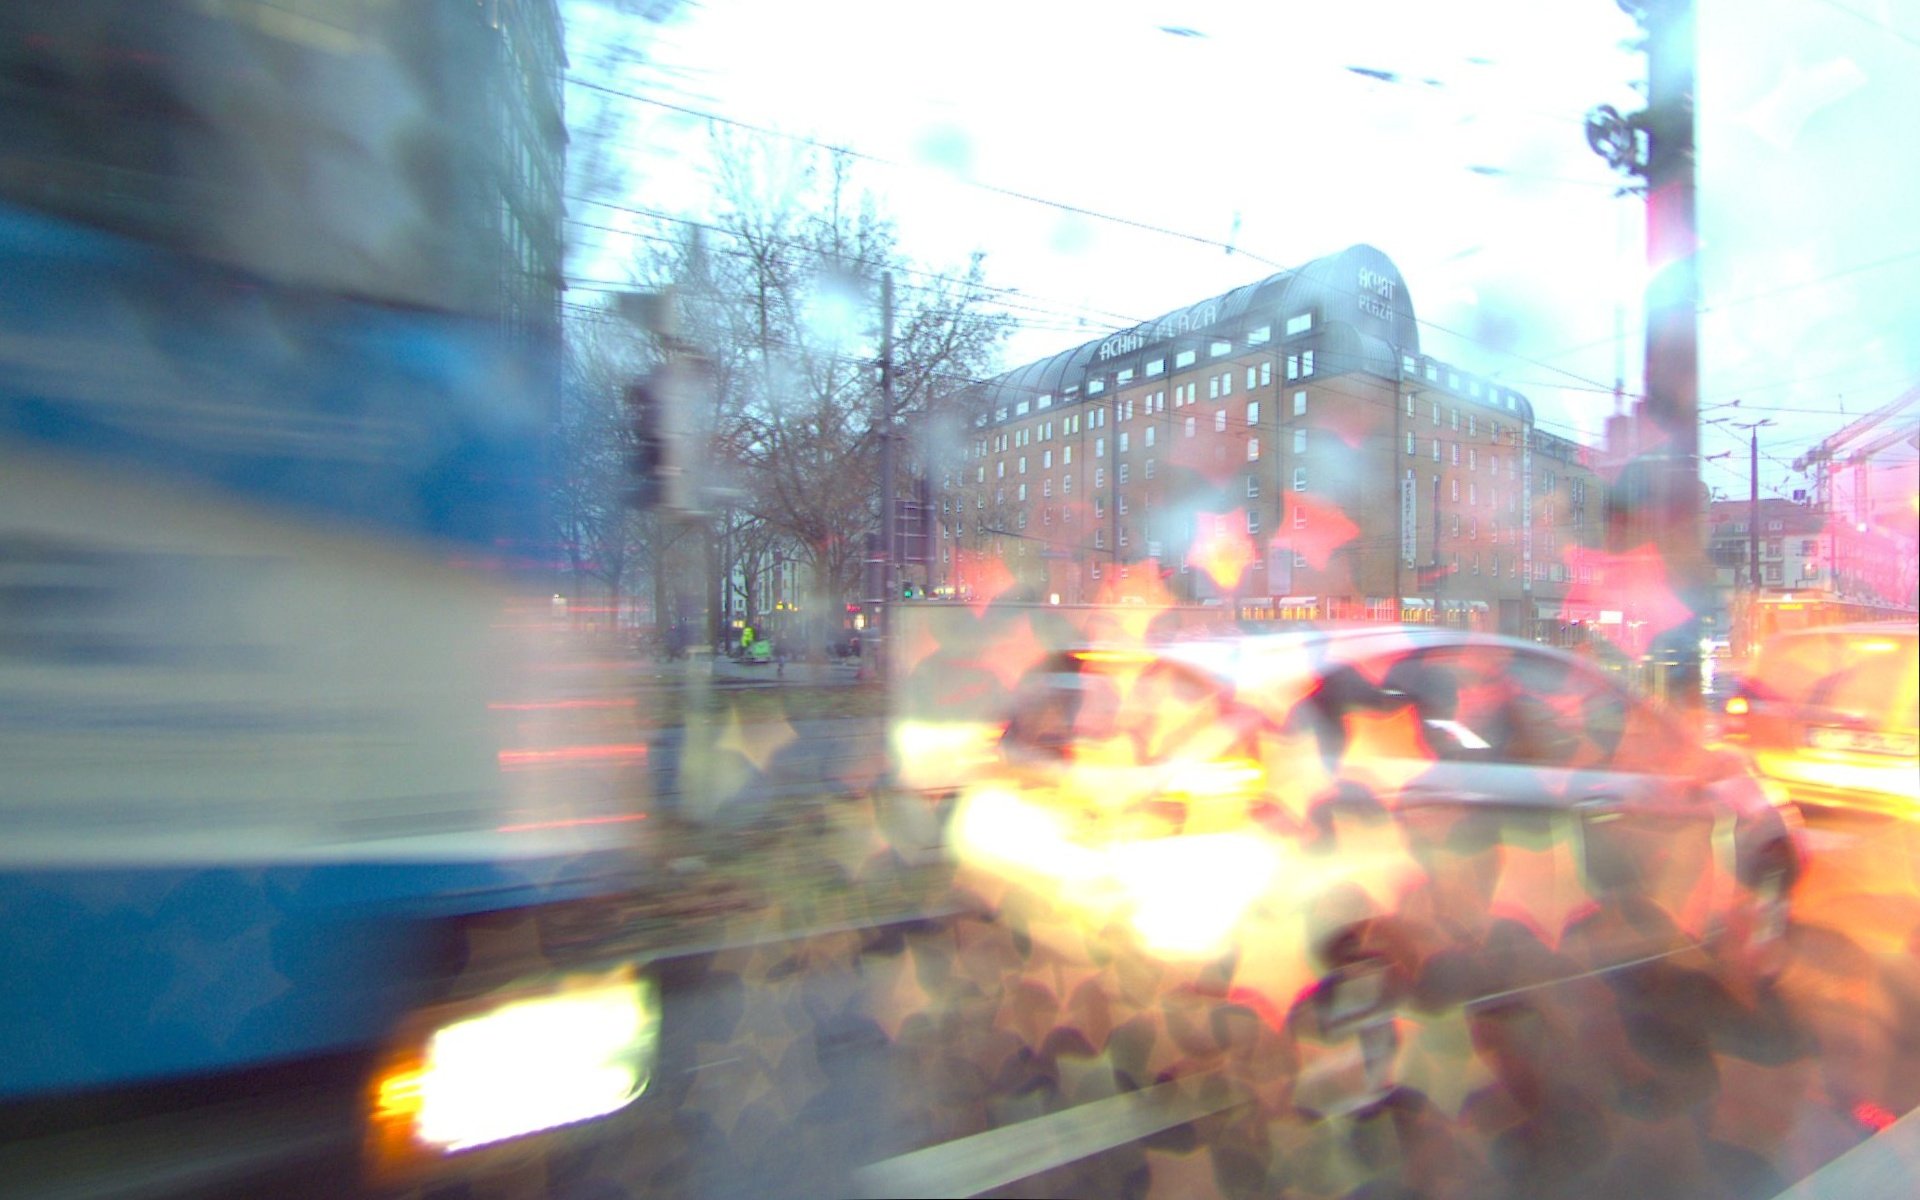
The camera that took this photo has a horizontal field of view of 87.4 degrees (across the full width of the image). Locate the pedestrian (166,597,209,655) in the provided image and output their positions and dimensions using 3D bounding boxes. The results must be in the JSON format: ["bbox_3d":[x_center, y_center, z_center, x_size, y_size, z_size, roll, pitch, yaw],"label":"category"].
[{"bbox_3d":[-24.285,0.811,31.576,0.690,1.775,0.794,0,-1,18],"label":"pedestrian"}]

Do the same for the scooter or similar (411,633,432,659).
[{"bbox_3d":[-20.149,1.706,37.592,0.657,0.973,0.550,1,-2,-24],"label":"scooter or similar"}]

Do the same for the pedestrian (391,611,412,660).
[{"bbox_3d":[-20.747,1.309,37.324,0.628,1.797,0.569,1,-2,-25],"label":"pedestrian"}]

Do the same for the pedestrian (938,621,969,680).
[{"bbox_3d":[-0.170,1.335,26.765,0.641,1.532,0.556,1,-1,-41],"label":"pedestrian"}]

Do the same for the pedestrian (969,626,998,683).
[{"bbox_3d":[0.634,1.472,27.303,0.609,1.532,0.516,1,-1,-38],"label":"pedestrian"}]

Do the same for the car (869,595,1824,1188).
[{"bbox_3d":[1.775,0.781,4.267,3.954,1.467,1.697,2,0,-31],"label":"car"}]

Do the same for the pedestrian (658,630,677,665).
[{"bbox_3d":[-12.190,1.976,41.859,0.675,1.478,0.569,1,-2,-24],"label":"pedestrian"}]

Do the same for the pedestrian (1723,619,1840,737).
[{"bbox_3d":[11.581,1.091,14.192,1.016,1.621,0.716,-1,-3,11],"label":"pedestrian"}]

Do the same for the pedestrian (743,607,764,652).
[{"bbox_3d":[-8.792,1.268,42.752,0.725,1.888,0.569,1,-2,-24],"label":"pedestrian"}]

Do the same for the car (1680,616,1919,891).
[{"bbox_3d":[6.616,0.867,6.624,3.713,1.478,1.690,1,-2,-30],"label":"car"}]

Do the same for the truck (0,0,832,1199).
[{"bbox_3d":[-4.048,-0.472,0.526,7.439,3.681,2.825,1,-1,-31],"label":"truck"}]

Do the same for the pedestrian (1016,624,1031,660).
[{"bbox_3d":[3.220,2.123,50.870,0.620,1.781,0.568,0,-2,17],"label":"pedestrian"}]

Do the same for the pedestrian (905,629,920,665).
[{"bbox_3d":[-2.284,2.261,48.393,0.679,1.728,0.526,1,-2,-7],"label":"pedestrian"}]

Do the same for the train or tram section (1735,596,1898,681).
[{"bbox_3d":[43.690,1.911,50.734,19.902,3.662,2.841,2,-2,-40],"label":"train or tram section"}]

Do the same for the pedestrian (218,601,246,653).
[{"bbox_3d":[-25.062,0.938,34.585,0.697,1.775,0.566,1,-1,-33],"label":"pedestrian"}]

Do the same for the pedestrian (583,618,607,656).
[{"bbox_3d":[-17.149,1.736,47.250,0.803,1.783,0.735,0,-2,5],"label":"pedestrian"}]
